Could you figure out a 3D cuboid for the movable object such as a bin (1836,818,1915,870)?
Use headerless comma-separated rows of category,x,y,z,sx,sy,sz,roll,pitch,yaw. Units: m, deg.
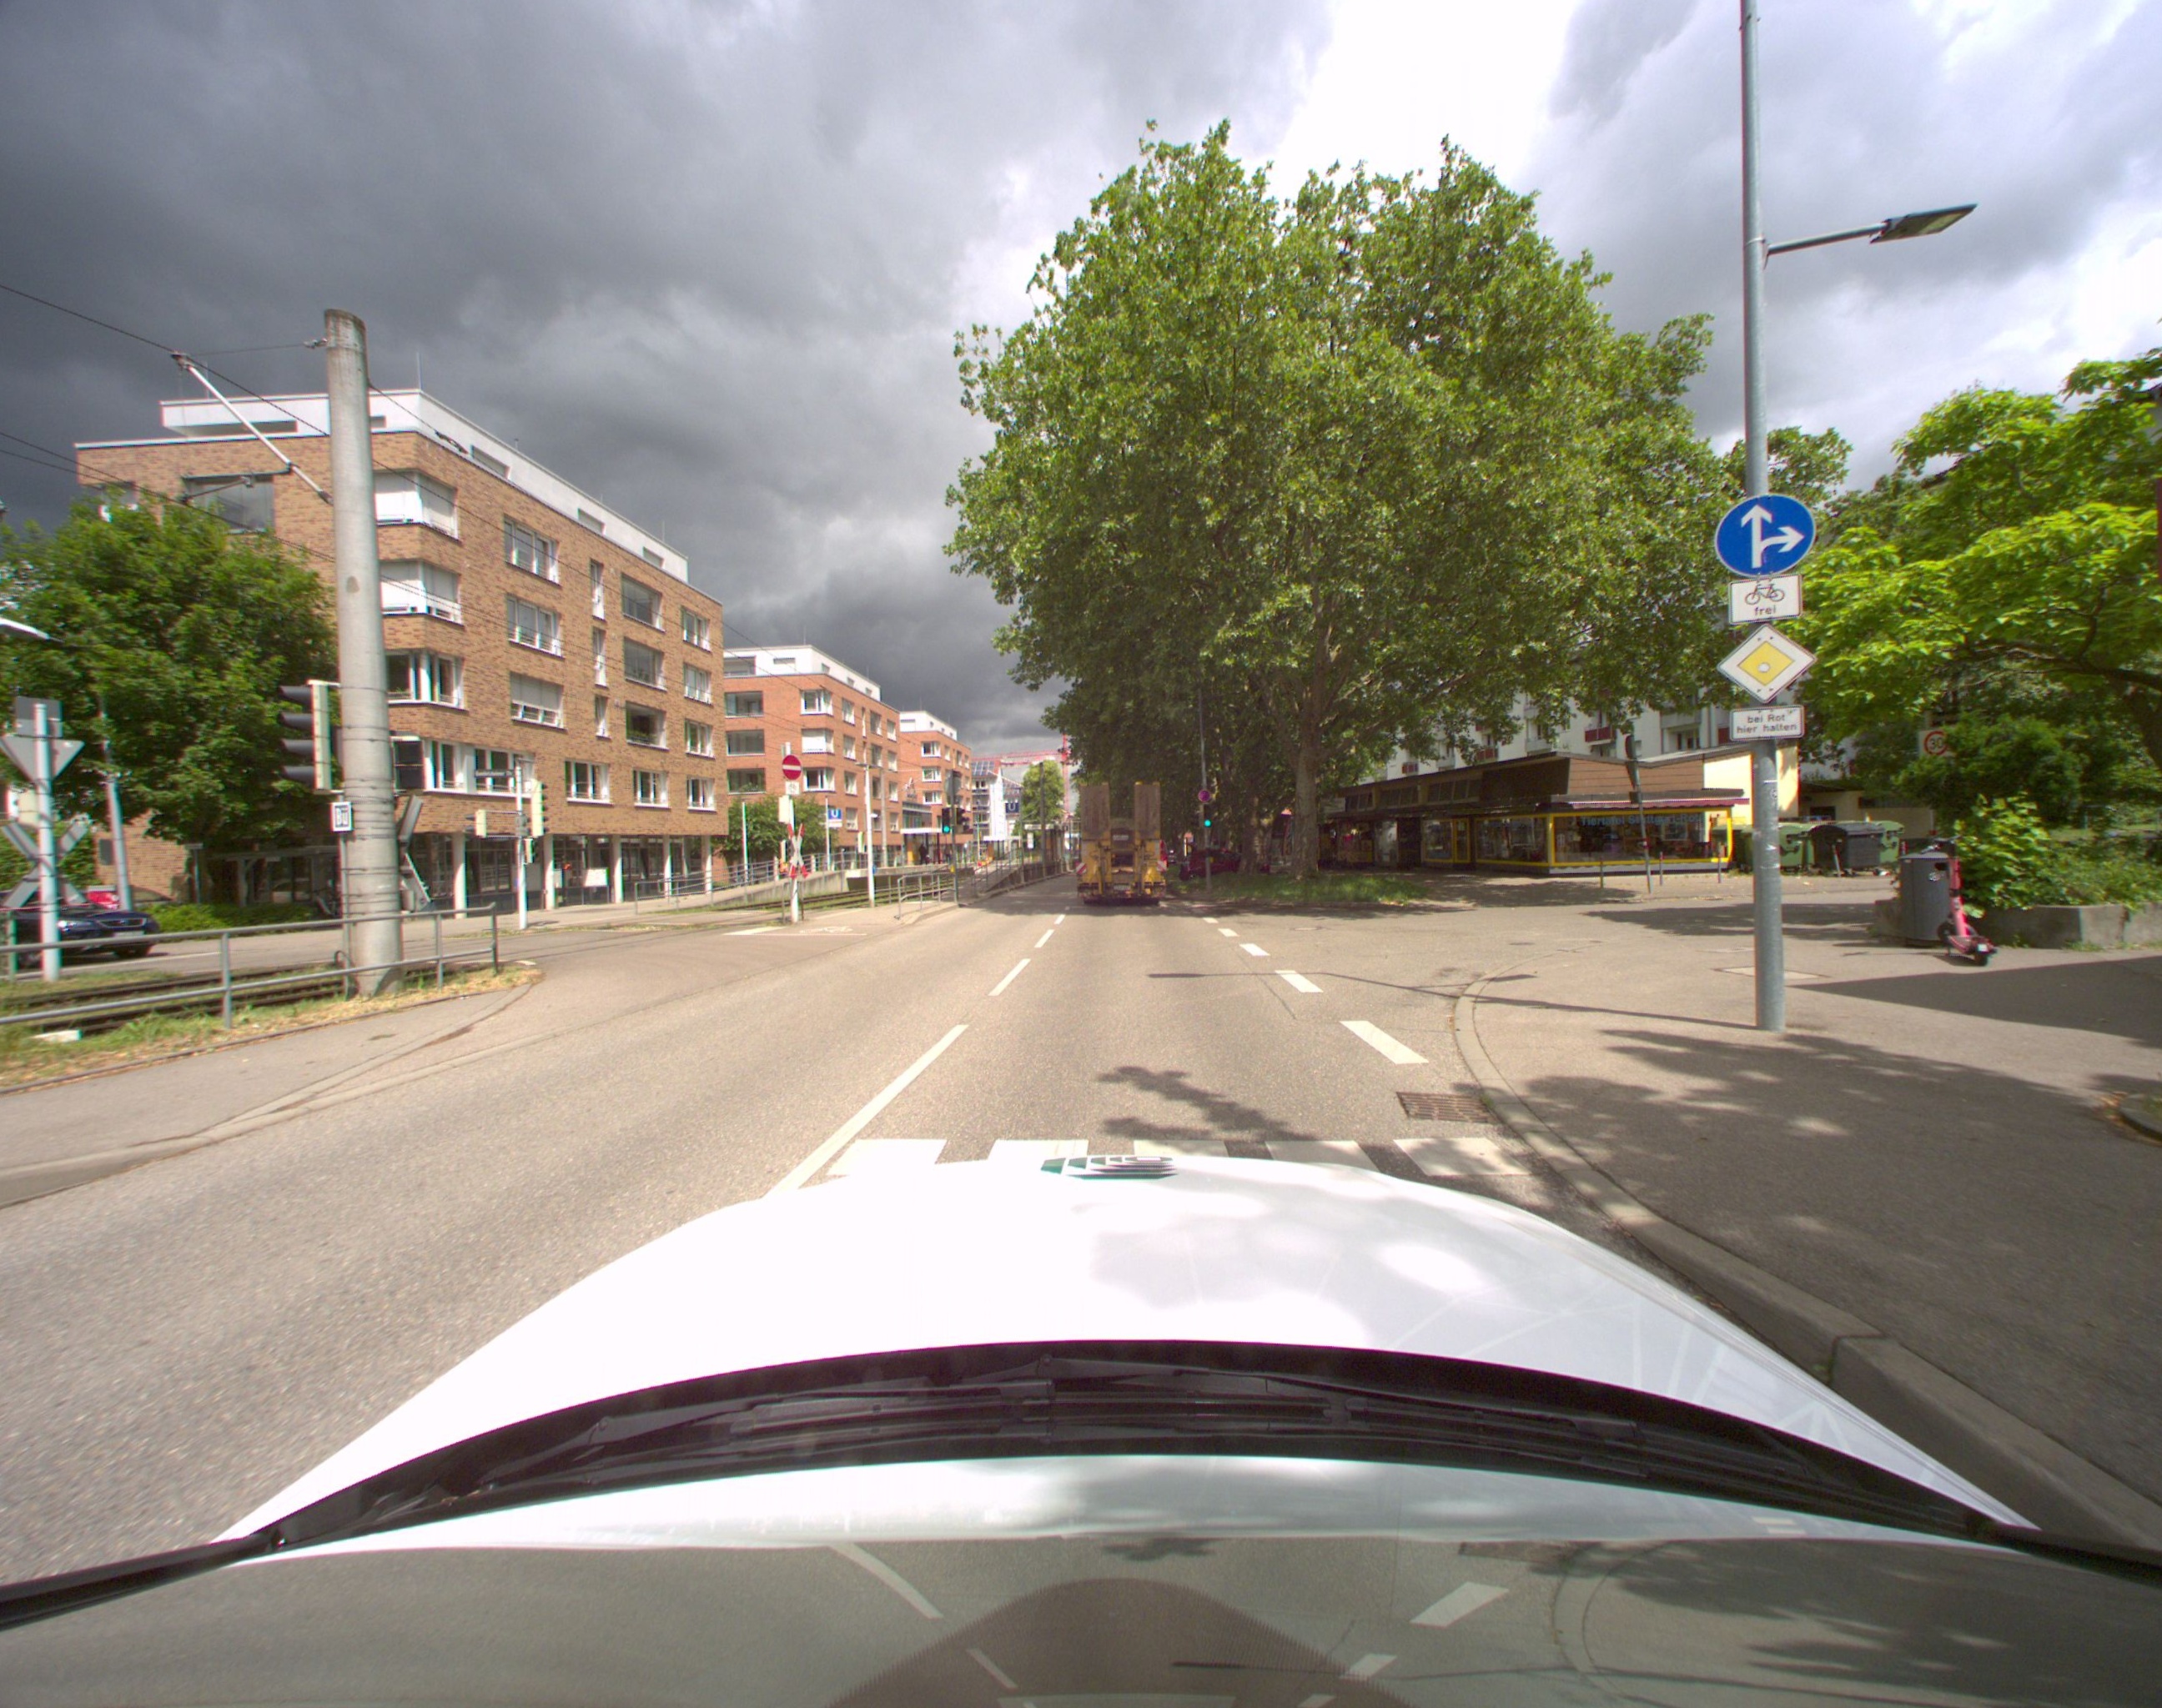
movable object such as a bin,22.932,-0.303,23.539,1.178,1.412,1.144,-3,2,-1

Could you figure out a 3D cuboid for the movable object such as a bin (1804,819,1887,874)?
movable object such as a bin,20.916,-0.224,22.312,1.178,1.412,1.144,-3,2,-1

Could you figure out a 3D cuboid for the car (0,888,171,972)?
car,-21.360,1.586,16.739,3.654,1.476,1.590,-4,0,5

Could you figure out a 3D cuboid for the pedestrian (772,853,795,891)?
pedestrian,-14.487,0.871,39.679,0.740,1.825,0.829,-2,0,2

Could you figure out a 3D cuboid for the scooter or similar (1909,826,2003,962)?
scooter or similar,9.035,0.373,8.438,0.372,1.307,1.239,-2,0,35

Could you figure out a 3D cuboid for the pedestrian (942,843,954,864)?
pedestrian,-10.670,-0.039,65.184,0.748,1.629,0.816,-1,0,3

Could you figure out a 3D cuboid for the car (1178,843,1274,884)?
car,6.345,0.407,35.959,4.009,1.611,1.734,-2,0,6

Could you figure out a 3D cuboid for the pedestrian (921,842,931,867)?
pedestrian,-11.123,0.020,58.523,0.532,1.764,0.528,-2,-1,1

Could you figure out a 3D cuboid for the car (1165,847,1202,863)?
car,11.332,0.159,89.960,3.821,1.562,1.618,-3,-1,-3

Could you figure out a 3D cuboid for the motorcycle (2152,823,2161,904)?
motorcycle,16.672,0.109,11.271,0.744,1.195,2.112,-2,-1,-44

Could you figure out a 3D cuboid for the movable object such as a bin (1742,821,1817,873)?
movable object such as a bin,20.498,-0.229,23.930,1.172,1.412,1.212,-3,2,-1

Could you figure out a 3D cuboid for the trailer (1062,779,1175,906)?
trailer,1.328,-0.311,28.400,3.141,3.552,11.104,-1,0,3

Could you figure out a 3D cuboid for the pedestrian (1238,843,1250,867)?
pedestrian,13.157,0.097,65.795,0.740,1.883,0.942,-4,-1,3

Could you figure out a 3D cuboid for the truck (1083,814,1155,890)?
truck,1.753,-0.092,37.863,2.977,3.135,7.892,-1,0,2

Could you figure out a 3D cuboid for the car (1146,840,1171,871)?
car,7.031,0.145,74.545,1.896,2.581,6.841,-3,0,4

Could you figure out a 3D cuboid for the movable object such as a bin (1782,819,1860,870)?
movable object such as a bin,21.722,-0.304,23.934,1.172,1.412,1.212,-3,2,-1

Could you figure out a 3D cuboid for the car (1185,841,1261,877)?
car,6.988,0.255,40.296,3.397,1.514,1.610,-4,0,-1

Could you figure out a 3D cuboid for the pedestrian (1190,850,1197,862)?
pedestrian,13.465,0.237,97.411,0.692,1.392,0.512,-2,0,-1

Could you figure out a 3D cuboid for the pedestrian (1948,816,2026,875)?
pedestrian,23.917,-0.252,21.526,0.806,1.475,1.101,-2,3,-2
